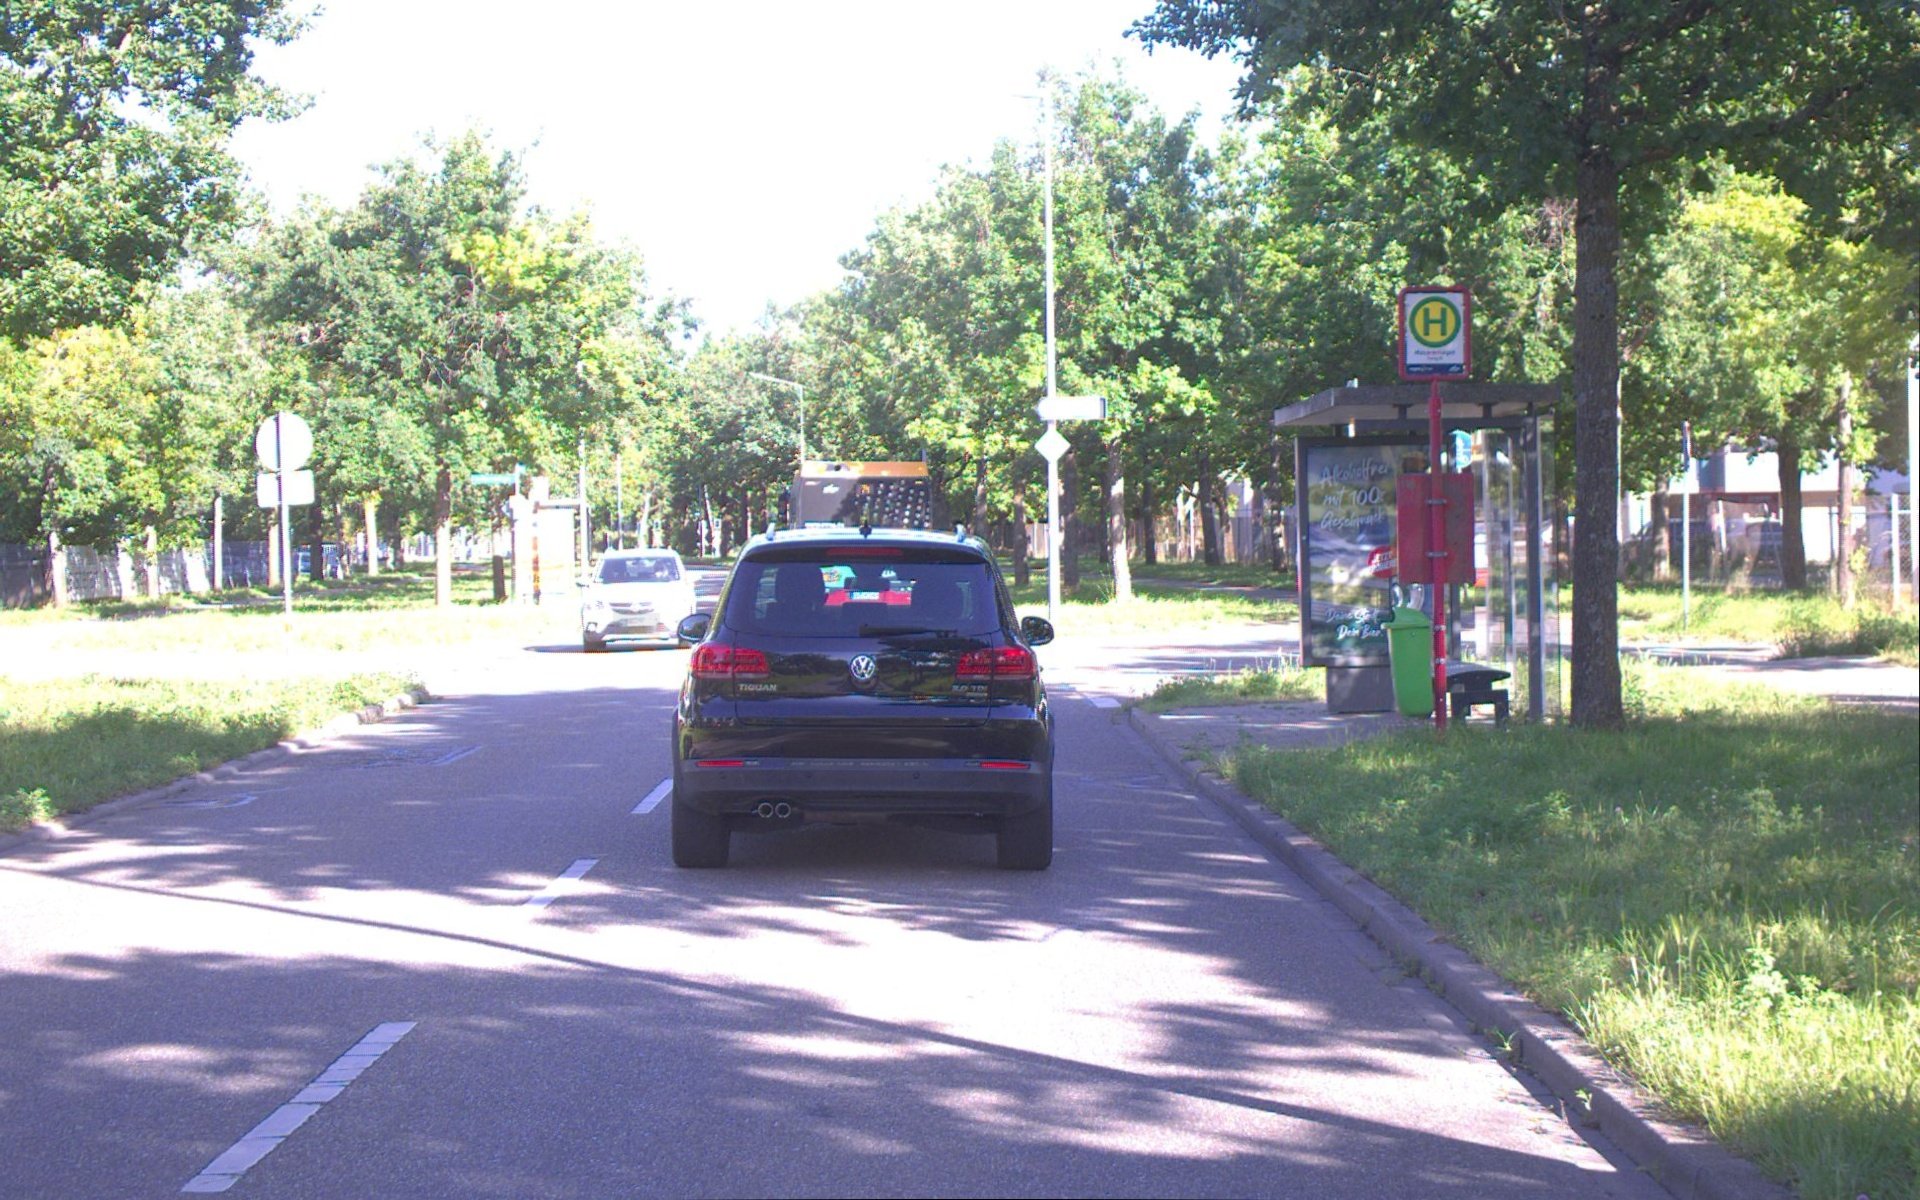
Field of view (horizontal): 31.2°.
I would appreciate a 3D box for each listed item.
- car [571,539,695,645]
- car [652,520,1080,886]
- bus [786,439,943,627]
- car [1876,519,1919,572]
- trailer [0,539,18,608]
[{"bbox_3d":[-4.940,-0.155,51.883,1.743,1.460,4.428,-2,1,-6],"label":"car"},{"bbox_3d":[-0.445,0.420,17.886,1.936,1.650,4.427,1,1,0],"label":"car"},{"bbox_3d":[-2.068,-1.370,69.695,2.764,3.444,11.212,-1,1,-3],"label":"bus"},{"bbox_3d":[26.084,-1.473,92.088,1.764,1.379,3.768,-1,1,-6],"label":"car"},{"bbox_3d":[-27.904,-0.716,96.225,2.102,1.908,3.741,-1,1,-2],"label":"trailer"}]
